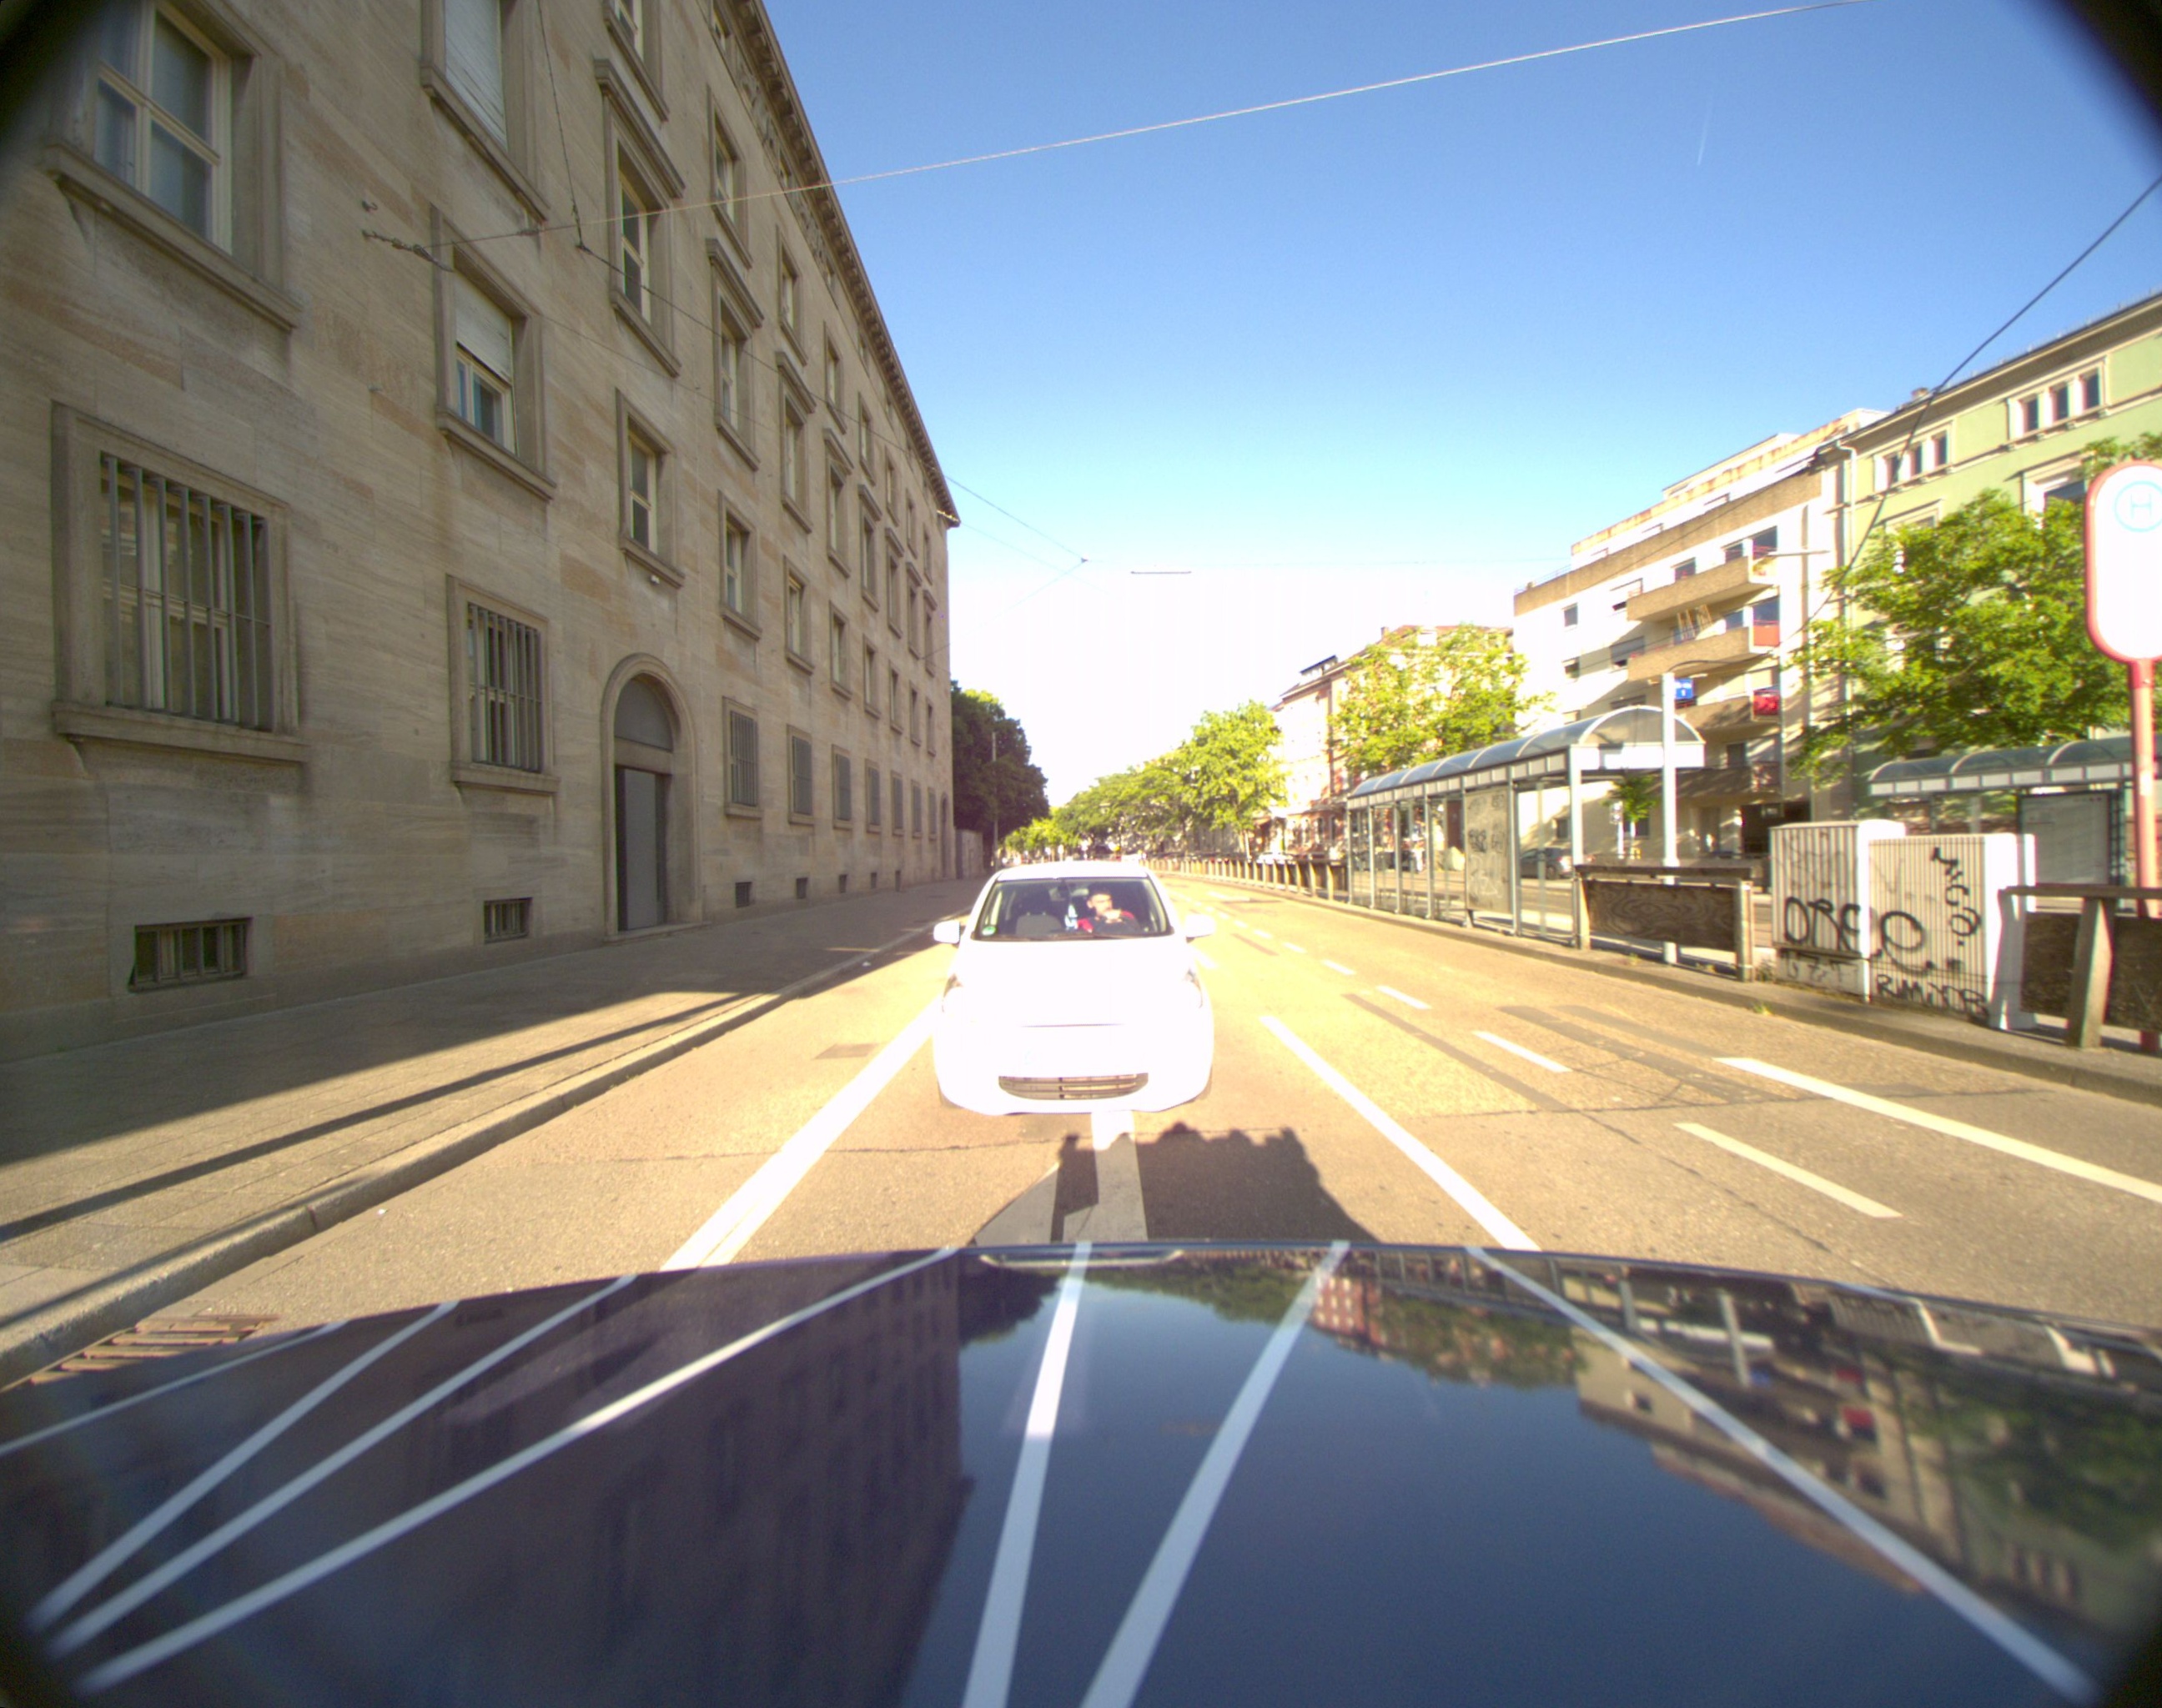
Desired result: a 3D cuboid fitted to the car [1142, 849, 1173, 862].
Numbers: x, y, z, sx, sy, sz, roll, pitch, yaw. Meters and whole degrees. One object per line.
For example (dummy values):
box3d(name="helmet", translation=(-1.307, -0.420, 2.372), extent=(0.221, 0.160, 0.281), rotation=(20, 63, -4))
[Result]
box3d(name="car", translation=(9.575, 0.139, 95.711), extent=(3.864, 1.583, 2.001), rotation=(-1, 0, 4))

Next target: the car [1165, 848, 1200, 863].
box3d(name="car", translation=(11.446, 0.153, 86.085), extent=(3.864, 1.583, 2.001), rotation=(-1, 0, 5))

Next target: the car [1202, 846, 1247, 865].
box3d(name="car", translation=(13.646, 0.136, 72.588), extent=(3.996, 1.674, 2.000), rotation=(-1, 0, 4))

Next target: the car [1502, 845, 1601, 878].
box3d(name="car", translation=(20.853, 0.321, 33.829), extent=(1.615, 1.387, 3.516), rotation=(-1, 0, -19))

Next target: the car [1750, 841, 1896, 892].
box3d(name="car", translation=(23.941, 0.373, 24.545), extent=(3.796, 1.526, 1.772), rotation=(-1, 0, -17))

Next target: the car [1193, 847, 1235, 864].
box3d(name="car", translation=(13.360, 0.121, 76.722), extent=(3.996, 1.674, 2.000), rotation=(-1, 0, 4))

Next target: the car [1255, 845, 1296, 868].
box3d(name="car", translation=(16.314, 0.170, 63.672), extent=(1.994, 1.713, 4.007), rotation=(0, 2, 34))

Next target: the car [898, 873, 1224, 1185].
box3d(name="car", translation=(-0.074, 0.927, 5.650), extent=(1.612, 1.450, 3.667), rotation=(-1, 0, 1))

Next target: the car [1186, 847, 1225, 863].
box3d(name="car", translation=(13.168, 0.093, 80.525), extent=(3.996, 1.674, 2.000), rotation=(-1, 0, 4))
